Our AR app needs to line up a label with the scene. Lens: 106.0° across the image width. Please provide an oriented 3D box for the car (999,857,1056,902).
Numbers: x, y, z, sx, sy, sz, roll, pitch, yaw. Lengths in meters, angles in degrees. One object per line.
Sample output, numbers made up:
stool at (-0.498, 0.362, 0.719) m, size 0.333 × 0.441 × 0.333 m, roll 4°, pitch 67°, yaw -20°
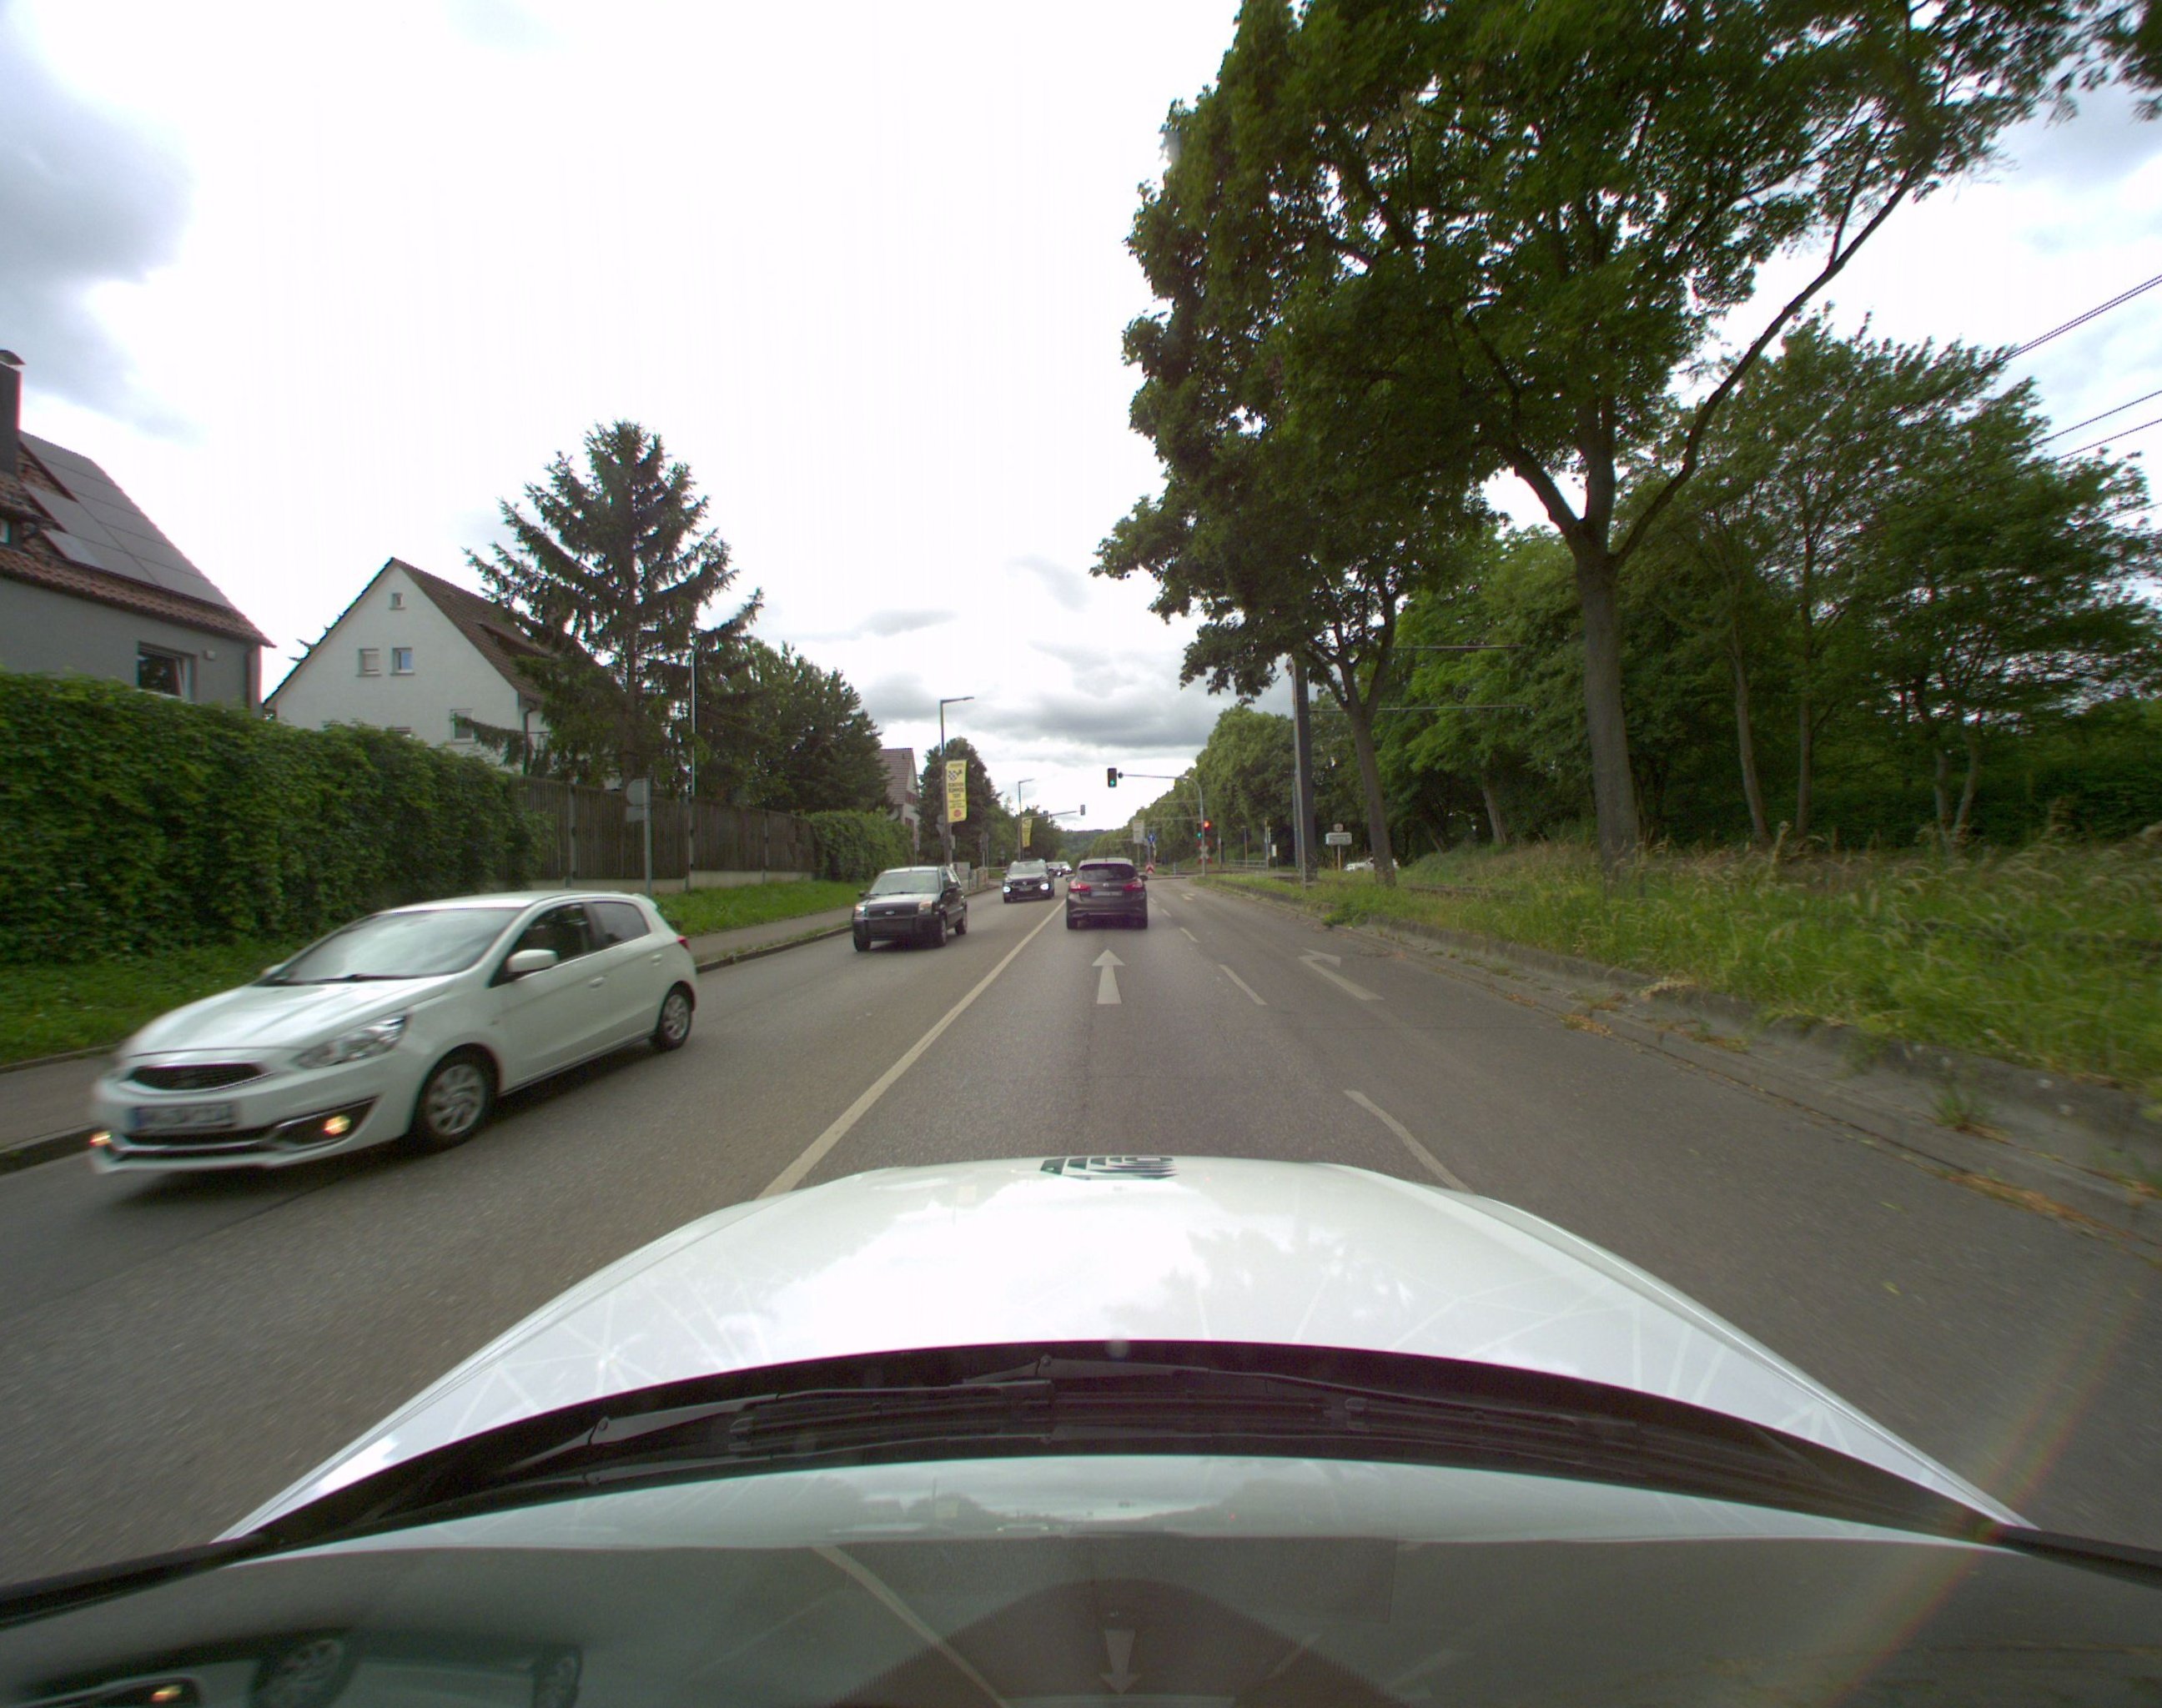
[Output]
car at (-2.008, 0.922, 31.523) m, size 1.806 × 1.524 × 4.177 m, roll -4°, pitch 0°, yaw 0°

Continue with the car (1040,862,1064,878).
car at (-2.681, 1.444, 75.601) m, size 1.805 × 1.373 × 4.163 m, roll 1°, pitch 0°, yaw 3°

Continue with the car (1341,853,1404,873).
car at (22.008, 0.695, 61.519) m, size 3.979 × 1.354 × 1.997 m, roll 2°, pitch 0°, yaw -4°

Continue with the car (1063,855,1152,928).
car at (0.640, 0.780, 19.172) m, size 1.828 × 1.519 × 4.485 m, roll 0°, pitch 0°, yaw 2°

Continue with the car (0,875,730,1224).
car at (-4.409, 1.004, 5.980) m, size 1.611 × 1.461 × 4.074 m, roll -5°, pitch 0°, yaw 3°

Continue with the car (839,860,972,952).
car at (-3.349, 0.928, 16.335) m, size 1.637 × 1.481 × 4.107 m, roll -4°, pitch 0°, yaw 1°

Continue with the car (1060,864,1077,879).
car at (-1.413, 1.943, 91.838) m, size 1.813 × 1.567 × 5.204 m, roll -1°, pitch 0°, yaw 0°

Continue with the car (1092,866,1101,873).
car at (3.198, 3.234, 169.149) m, size 1.736 × 1.310 × 4.000 m, roll 0°, pitch 0°, yaw 0°

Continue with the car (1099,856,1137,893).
car at (1.623, 0.875, 35.875) m, size 1.533 × 1.478 × 3.766 m, roll -2°, pitch 0°, yaw 2°
